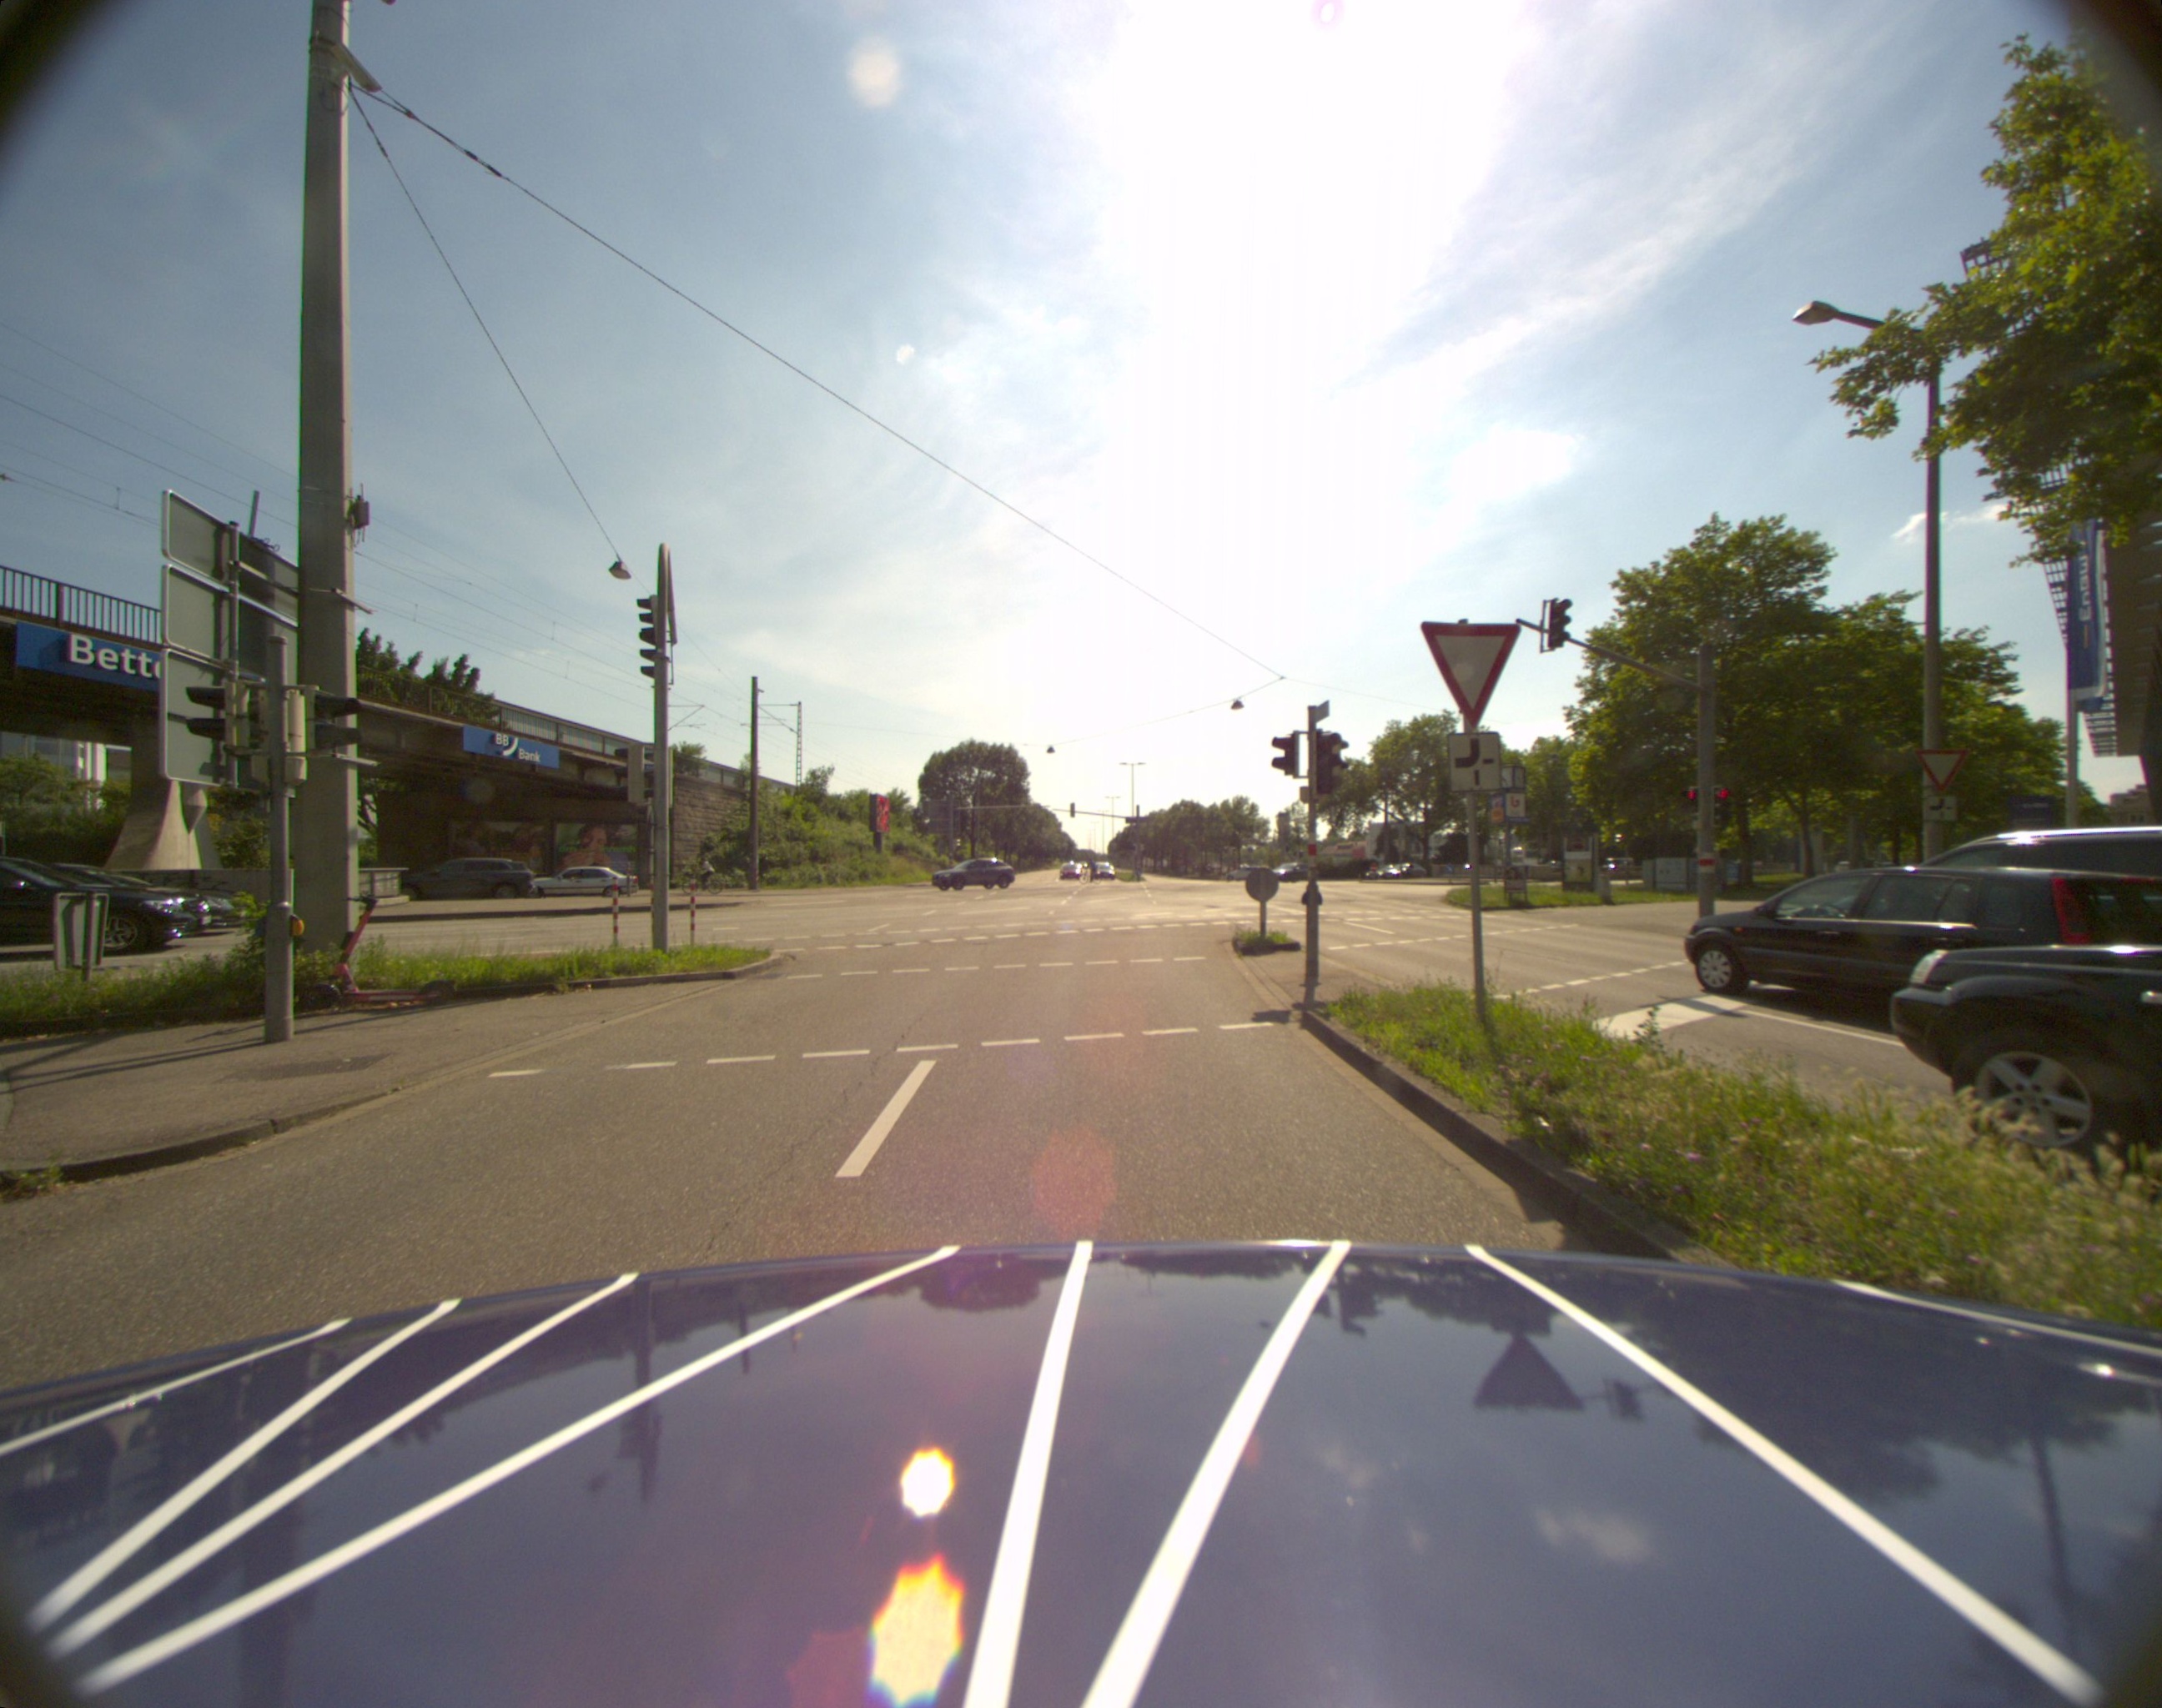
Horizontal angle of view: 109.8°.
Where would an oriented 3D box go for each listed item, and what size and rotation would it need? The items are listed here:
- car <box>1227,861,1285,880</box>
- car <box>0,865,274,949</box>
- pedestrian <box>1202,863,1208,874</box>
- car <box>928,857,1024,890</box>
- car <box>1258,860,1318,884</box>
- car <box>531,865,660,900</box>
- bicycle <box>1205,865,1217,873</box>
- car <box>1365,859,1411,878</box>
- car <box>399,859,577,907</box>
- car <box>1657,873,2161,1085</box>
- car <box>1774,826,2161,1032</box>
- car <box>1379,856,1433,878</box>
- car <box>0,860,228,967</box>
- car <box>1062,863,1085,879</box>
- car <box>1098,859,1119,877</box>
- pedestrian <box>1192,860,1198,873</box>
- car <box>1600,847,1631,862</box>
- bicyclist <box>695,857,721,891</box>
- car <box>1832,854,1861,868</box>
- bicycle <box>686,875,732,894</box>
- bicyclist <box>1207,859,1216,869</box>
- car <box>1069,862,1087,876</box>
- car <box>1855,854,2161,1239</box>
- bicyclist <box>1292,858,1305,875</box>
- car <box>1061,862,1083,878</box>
[{"bbox_3d":[17.119,1.686,74.612,5.150,1.713,2.005,-3,-3,36],"label":"car"},{"bbox_3d":[-18.566,0.951,14.511,4.007,1.433,1.688,0,0,-32],"label":"car"},{"bbox_3d":[17.165,2.062,105.297,0.578,1.515,0.880,0,-1,-2],"label":"pedestrian"},{"bbox_3d":[-5.400,0.985,39.389,4.569,1.540,1.826,-1,0,-35],"label":"car"},{"bbox_3d":[14.653,1.274,53.842,4.007,1.603,1.815,0,-3,-31],"label":"car"},{"bbox_3d":[-20.279,1.151,31.829,4.450,1.383,1.712,0,-1,-37],"label":"car"},{"bbox_3d":[18.161,2.061,105.897,0.884,1.053,2.771,0,-1,-8],"label":"bicycle"},{"bbox_3d":[26.873,1.260,66.465,4.007,1.619,1.768,0,0,-34],"label":"car"},{"bbox_3d":[-21.498,1.014,27.811,4.985,1.598,1.944,0,-1,-36],"label":"car"},{"bbox_3d":[8.100,0.959,7.511,1.766,1.466,3.958,0,-1,-1],"label":"car"},{"bbox_3d":[10.968,0.720,8.299,1.943,1.908,5.229,0,-1,-1],"label":"car"},{"bbox_3d":[26.589,1.036,62.132,4.439,1.699,1.995,0,0,-34],"label":"car"},{"bbox_3d":[-17.112,0.908,12.064,4.454,1.587,1.994,0,1,-39],"label":"car"},{"bbox_3d":[-0.676,1.554,69.306,1.714,1.384,4.003,-1,-2,5],"label":"car"},{"bbox_3d":[2.628,1.340,71.210,1.714,1.498,4.003,-1,-2,5],"label":"car"},{"bbox_3d":[15.967,1.761,106.694,0.630,1.699,0.768,0,-1,-2],"label":"pedestrian"},{"bbox_3d":[67.788,0.095,96.387,4.007,1.925,1.869,0,0,-33],"label":"car"},{"bbox_3d":[-18.133,0.977,36.957,1.070,1.623,0.805,0,-2,-33],"label":"bicyclist"},{"bbox_3d":[93.580,0.914,92.883,4.008,1.629,1.899,1,-3,-38],"label":"car"},{"bbox_3d":[-18.077,1.502,36.973,1.930,0.887,0.816,0,-3,-32],"label":"bicycle"},{"bbox_3d":[18.172,1.402,105.857,0.884,1.434,0.965,0,0,-8],"label":"bicyclist"},{"bbox_3d":[-0.357,1.727,87.214,1.714,1.498,4.003,-1,-2,5],"label":"car"},{"bbox_3d":[5.446,0.793,2.171,1.812,1.605,4.490,0,-1,-2],"label":"car"},{"bbox_3d":[19.120,1.093,66.736,0.773,1.427,0.921,0,0,-6],"label":"bicyclist"},{"bbox_3d":[-0.834,1.613,74.795,1.714,1.498,4.003,-1,-2,5],"label":"car"}]
